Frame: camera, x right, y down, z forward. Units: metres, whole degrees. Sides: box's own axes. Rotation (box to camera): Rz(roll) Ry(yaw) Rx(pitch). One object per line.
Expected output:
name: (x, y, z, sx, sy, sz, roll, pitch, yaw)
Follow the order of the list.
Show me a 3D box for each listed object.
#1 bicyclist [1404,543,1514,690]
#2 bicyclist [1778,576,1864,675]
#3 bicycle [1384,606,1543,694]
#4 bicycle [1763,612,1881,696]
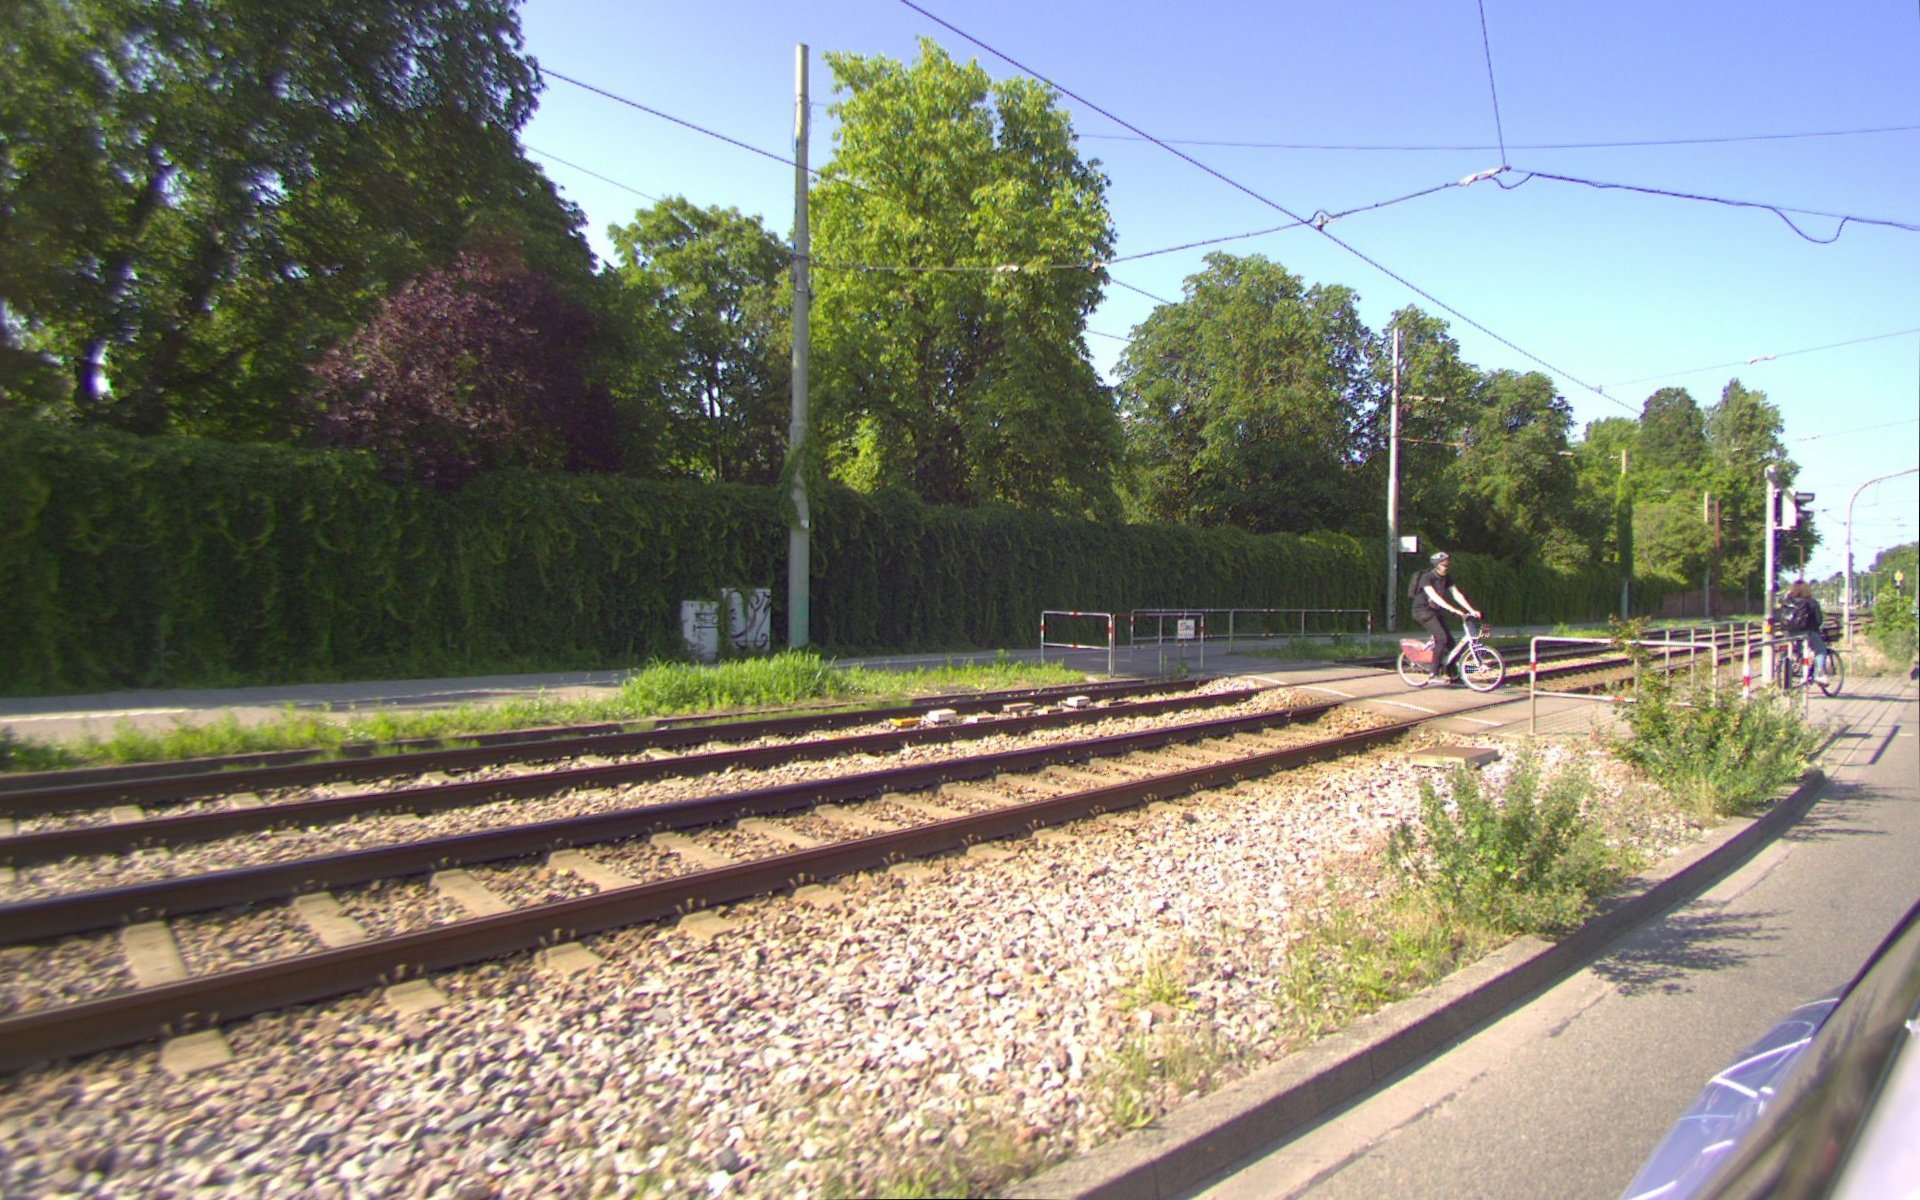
bicyclist: (7.163, 0.225, 14.563, 0.927, 2.018, 1.038, 1, 0, -19)
bicyclist: (12.935, 0.362, 15.206, 0.992, 1.434, 0.646, 1, 0, -28)
bicycle: (7.169, 0.670, 14.532, 0.927, 1.129, 1.931, 1, 1, -19)
bicycle: (13.030, 0.783, 15.293, 1.897, 1.168, 0.646, 1, 3, -28)
